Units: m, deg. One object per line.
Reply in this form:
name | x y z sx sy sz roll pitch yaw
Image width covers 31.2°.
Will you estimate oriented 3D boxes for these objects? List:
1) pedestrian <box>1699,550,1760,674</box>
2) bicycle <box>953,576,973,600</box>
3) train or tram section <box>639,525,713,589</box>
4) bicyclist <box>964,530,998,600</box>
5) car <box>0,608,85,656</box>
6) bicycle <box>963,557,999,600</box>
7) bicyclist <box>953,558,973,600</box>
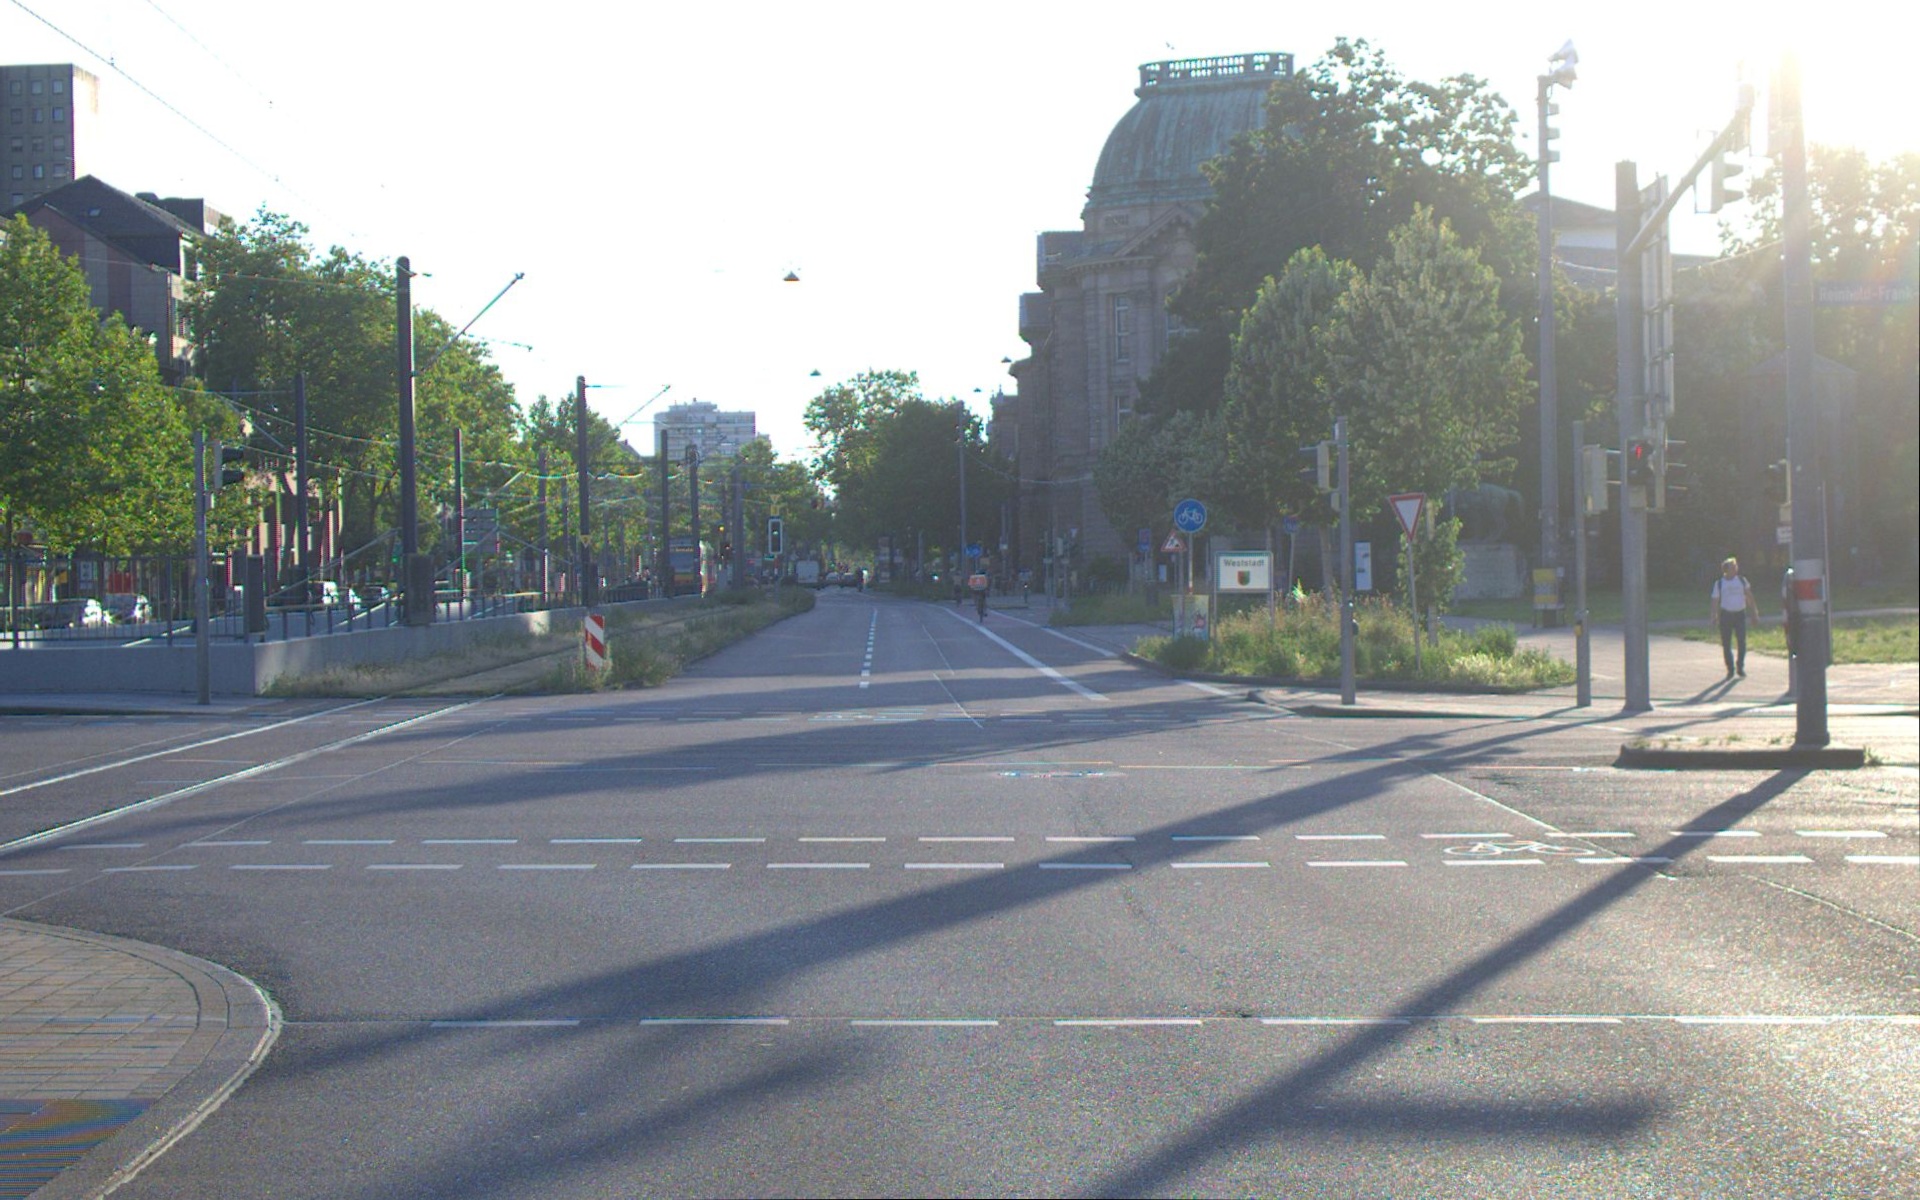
pedestrian | 11.288 0.178 50.421 0.833 1.797 0.810 -1 0 15
bicycle | 0.151 -0.586 165.085 0.924 1.108 2.333 -1 0 -1
train or tram section | -17.567 -2.642 212.754 4.385 3.837 11.411 -1 1 -5
bicyclist | 0.679 -1.132 112.180 1.082 2.268 0.986 0 0 -1
car | -29.582 1.012 110.196 1.819 1.415 4.000 -1 1 3
bicycle | 0.676 -0.708 112.241 1.098 1.394 2.832 -1 0 -1
bicyclist | 0.133 -0.986 165.116 0.925 2.007 0.850 -1 0 -1
